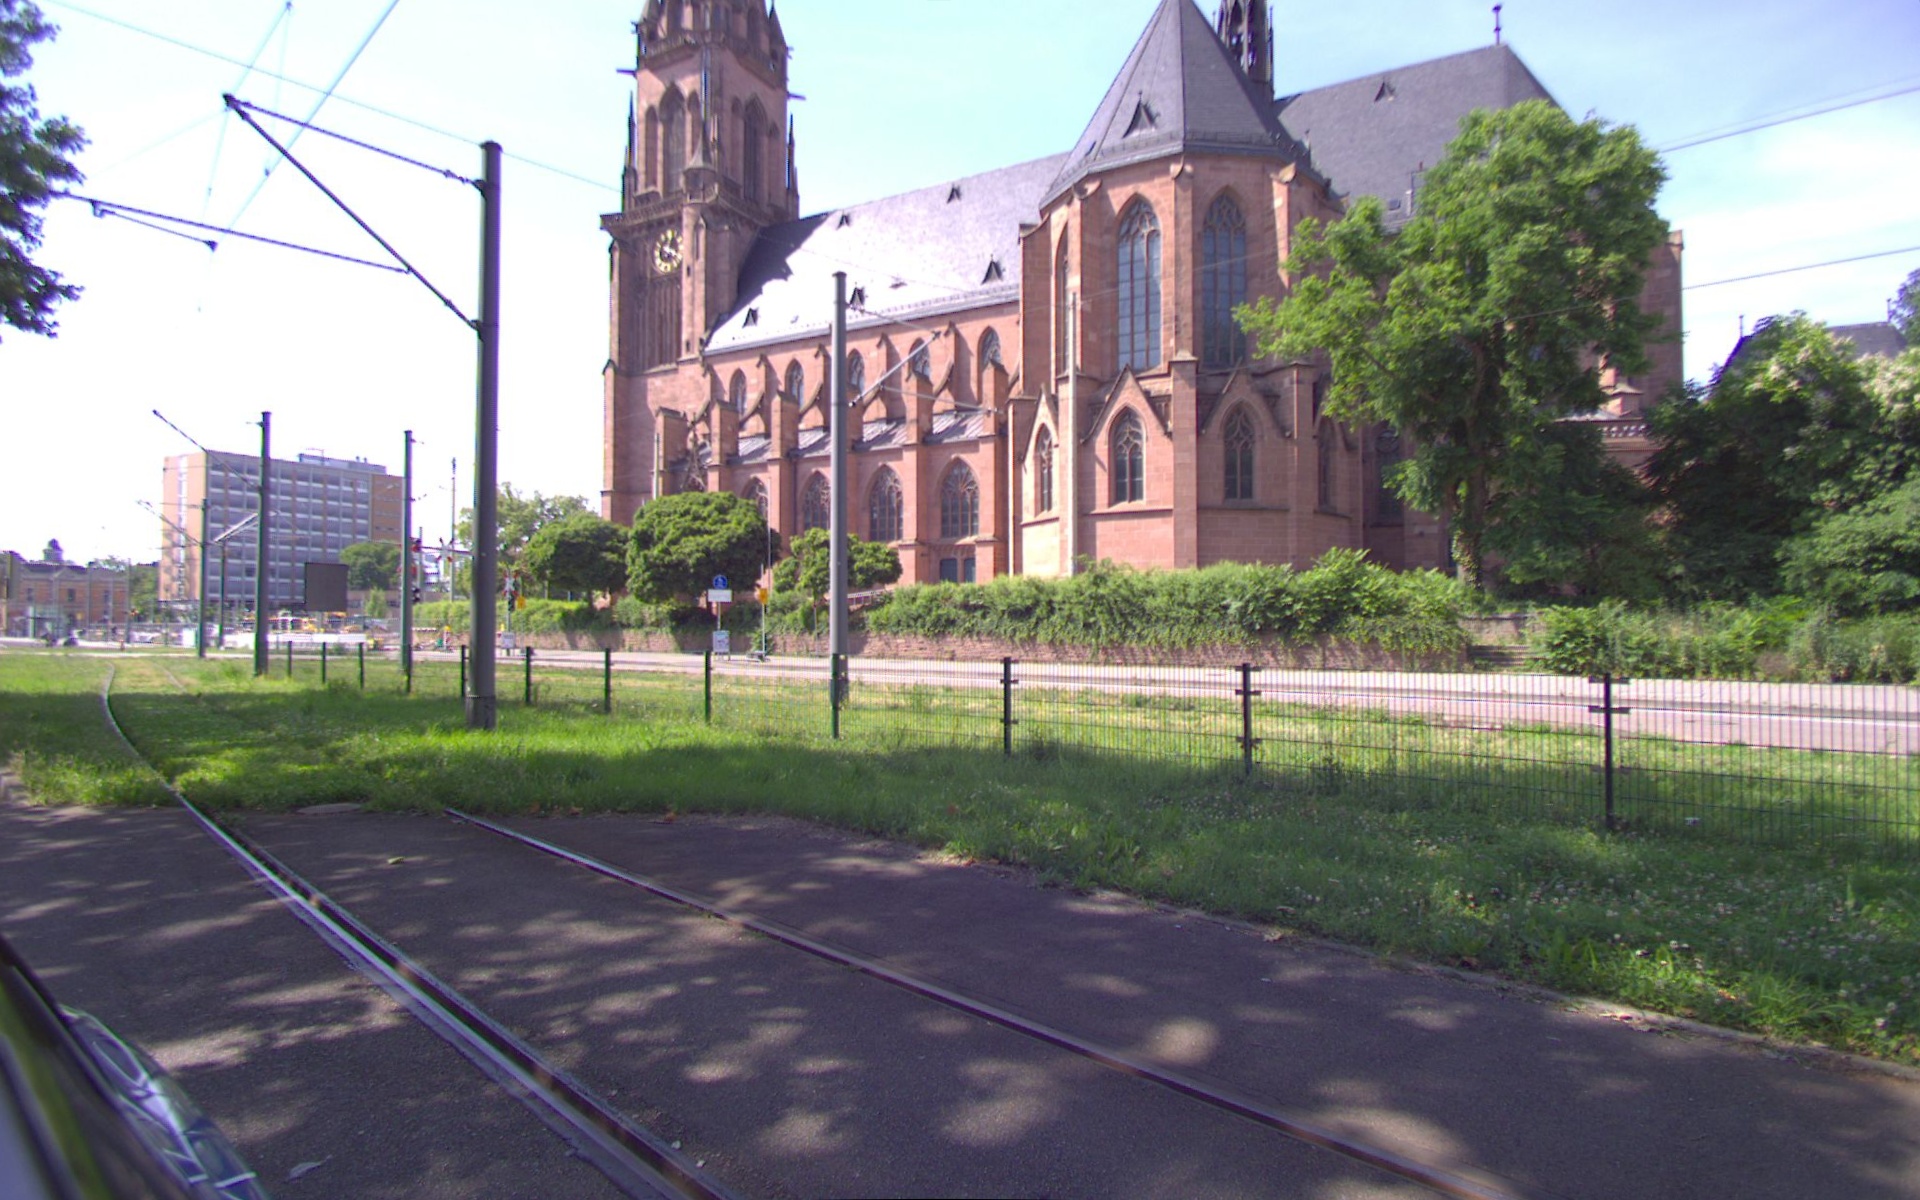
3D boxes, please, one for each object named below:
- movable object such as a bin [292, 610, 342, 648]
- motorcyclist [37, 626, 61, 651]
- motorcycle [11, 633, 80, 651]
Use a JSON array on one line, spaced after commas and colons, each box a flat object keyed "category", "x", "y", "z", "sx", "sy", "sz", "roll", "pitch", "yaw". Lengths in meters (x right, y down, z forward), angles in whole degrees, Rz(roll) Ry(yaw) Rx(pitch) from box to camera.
[{"category": "movable object such as a bin", "x": -67.147, "y": 3.070, "z": 105.769, "sx": 2.904, "sy": 3.911, "sz": 3.327, "roll": 0, "pitch": -2, "yaw": 8}, {"category": "motorcyclist", "x": -72.227, "y": 3.068, "z": 80.240, "sx": 1.089, "sy": 1.945, "sz": 1.337, "roll": 1, "pitch": -2, "yaw": -30}, {"category": "motorcycle", "x": -72.368, "y": 3.295, "z": 80.167, "sx": 3.870, "sy": 1.349, "sz": 1.249, "roll": 1, "pitch": -2, "yaw": -30}]
